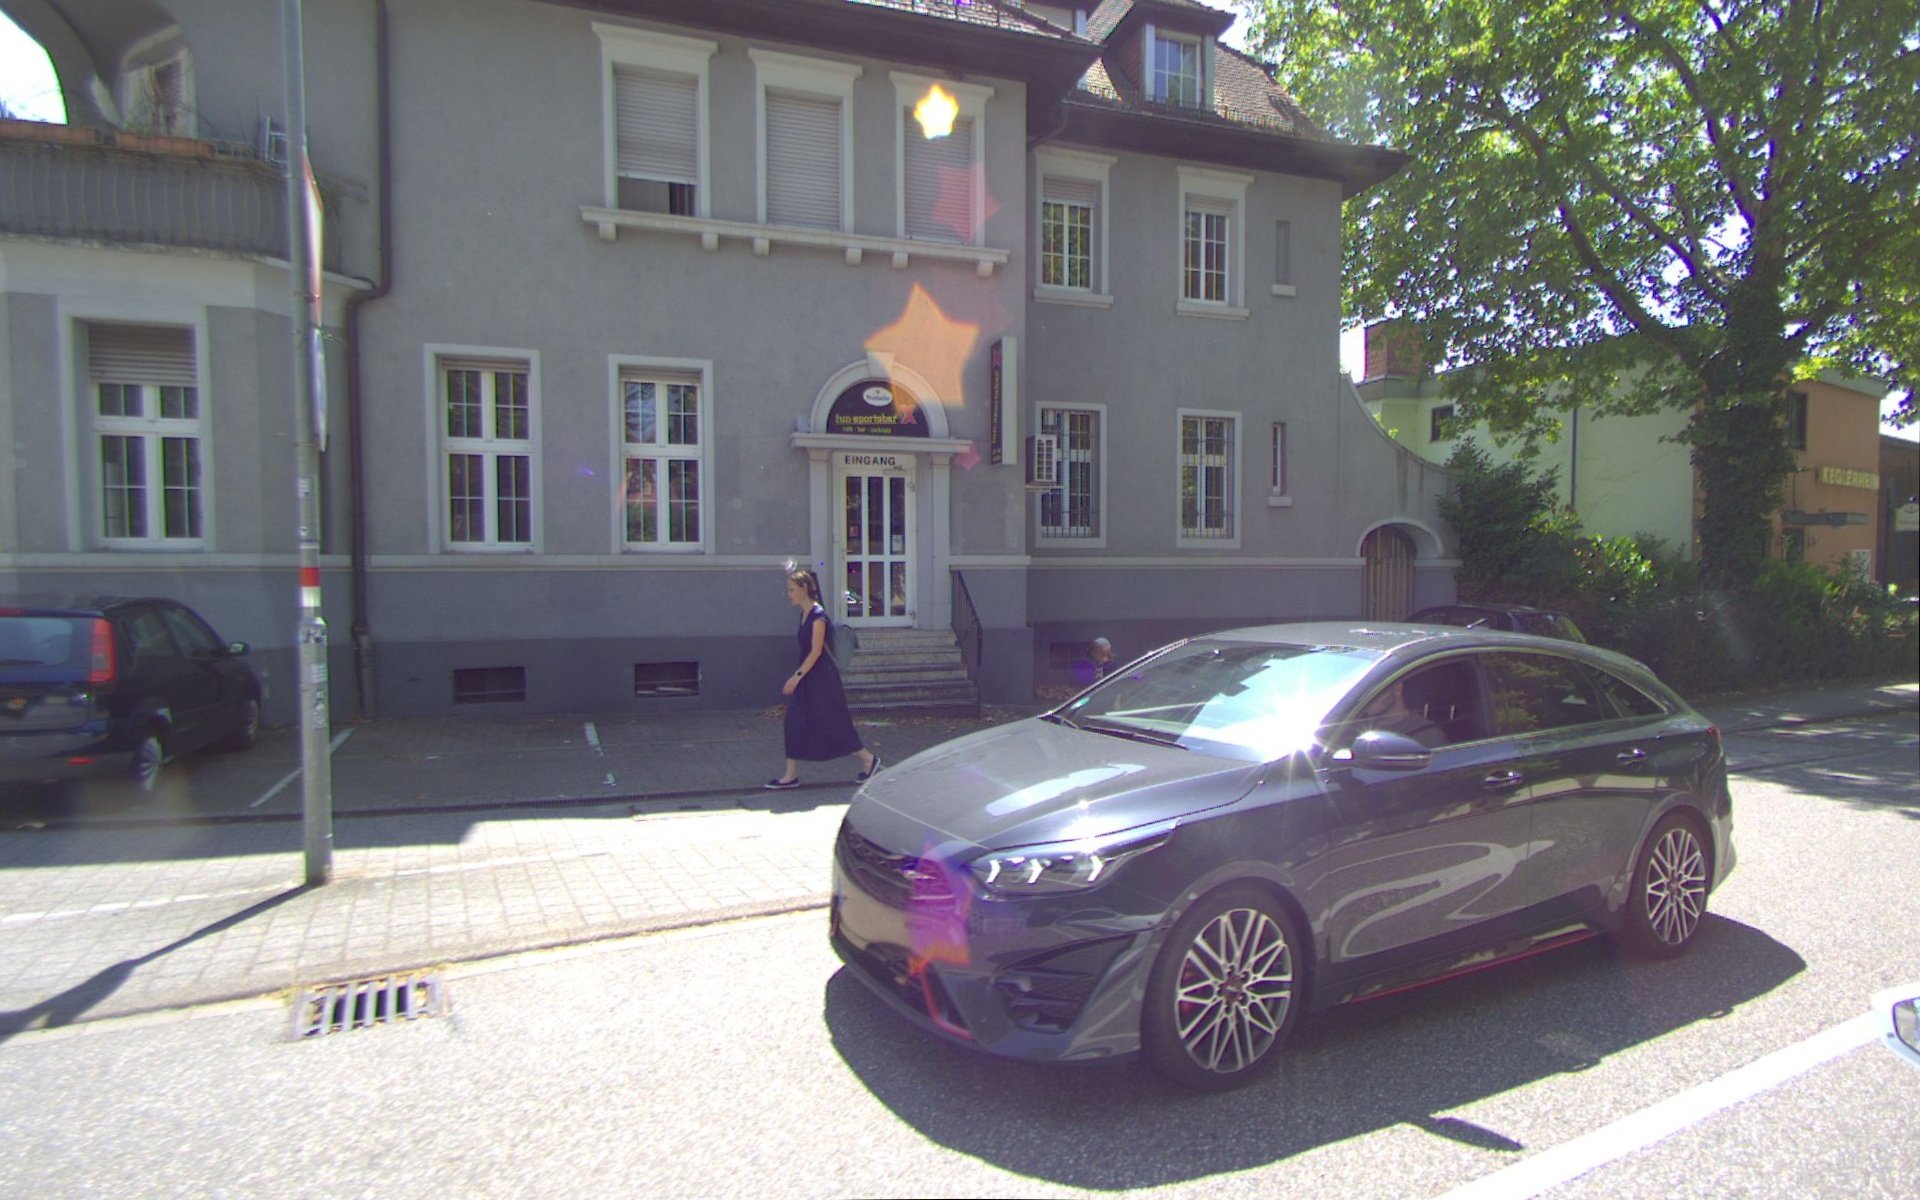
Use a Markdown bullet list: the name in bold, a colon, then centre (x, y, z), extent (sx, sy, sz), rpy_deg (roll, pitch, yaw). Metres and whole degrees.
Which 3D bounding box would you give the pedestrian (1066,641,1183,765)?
- **pedestrian**: centre (1.631, 0.990, 10.002), extent (0.885, 1.137, 0.751), rpy_deg (0, 0, -27)

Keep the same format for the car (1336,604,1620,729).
- **car**: centre (7.299, 0.846, 14.494), extent (1.699, 1.567, 3.374), rpy_deg (0, 0, -22)

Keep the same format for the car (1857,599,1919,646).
- **car**: centre (33.710, 0.812, 34.538), extent (1.850, 1.536, 3.960), rpy_deg (0, 2, -35)

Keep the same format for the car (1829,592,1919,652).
- **car**: centre (30.234, 0.699, 31.636), extent (1.850, 1.817, 3.960), rpy_deg (0, 2, -35)

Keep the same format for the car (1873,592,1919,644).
- **car**: centre (35.856, 0.696, 35.948), extent (1.884, 1.828, 4.393), rpy_deg (0, 2, -35)

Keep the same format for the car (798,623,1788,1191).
- **car**: centre (1.633, 0.844, 4.477), extent (4.339, 1.445, 1.761), rpy_deg (0, -1, -30)

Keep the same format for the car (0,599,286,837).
- **car**: centre (-6.798, 0.747, 7.951), extent (1.699, 1.479, 3.772), rpy_deg (0, 0, -22)

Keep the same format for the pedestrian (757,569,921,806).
- **pedestrian**: centre (-0.991, 0.662, 8.125), extent (1.098, 1.765, 0.869), rpy_deg (0, 0, -27)
